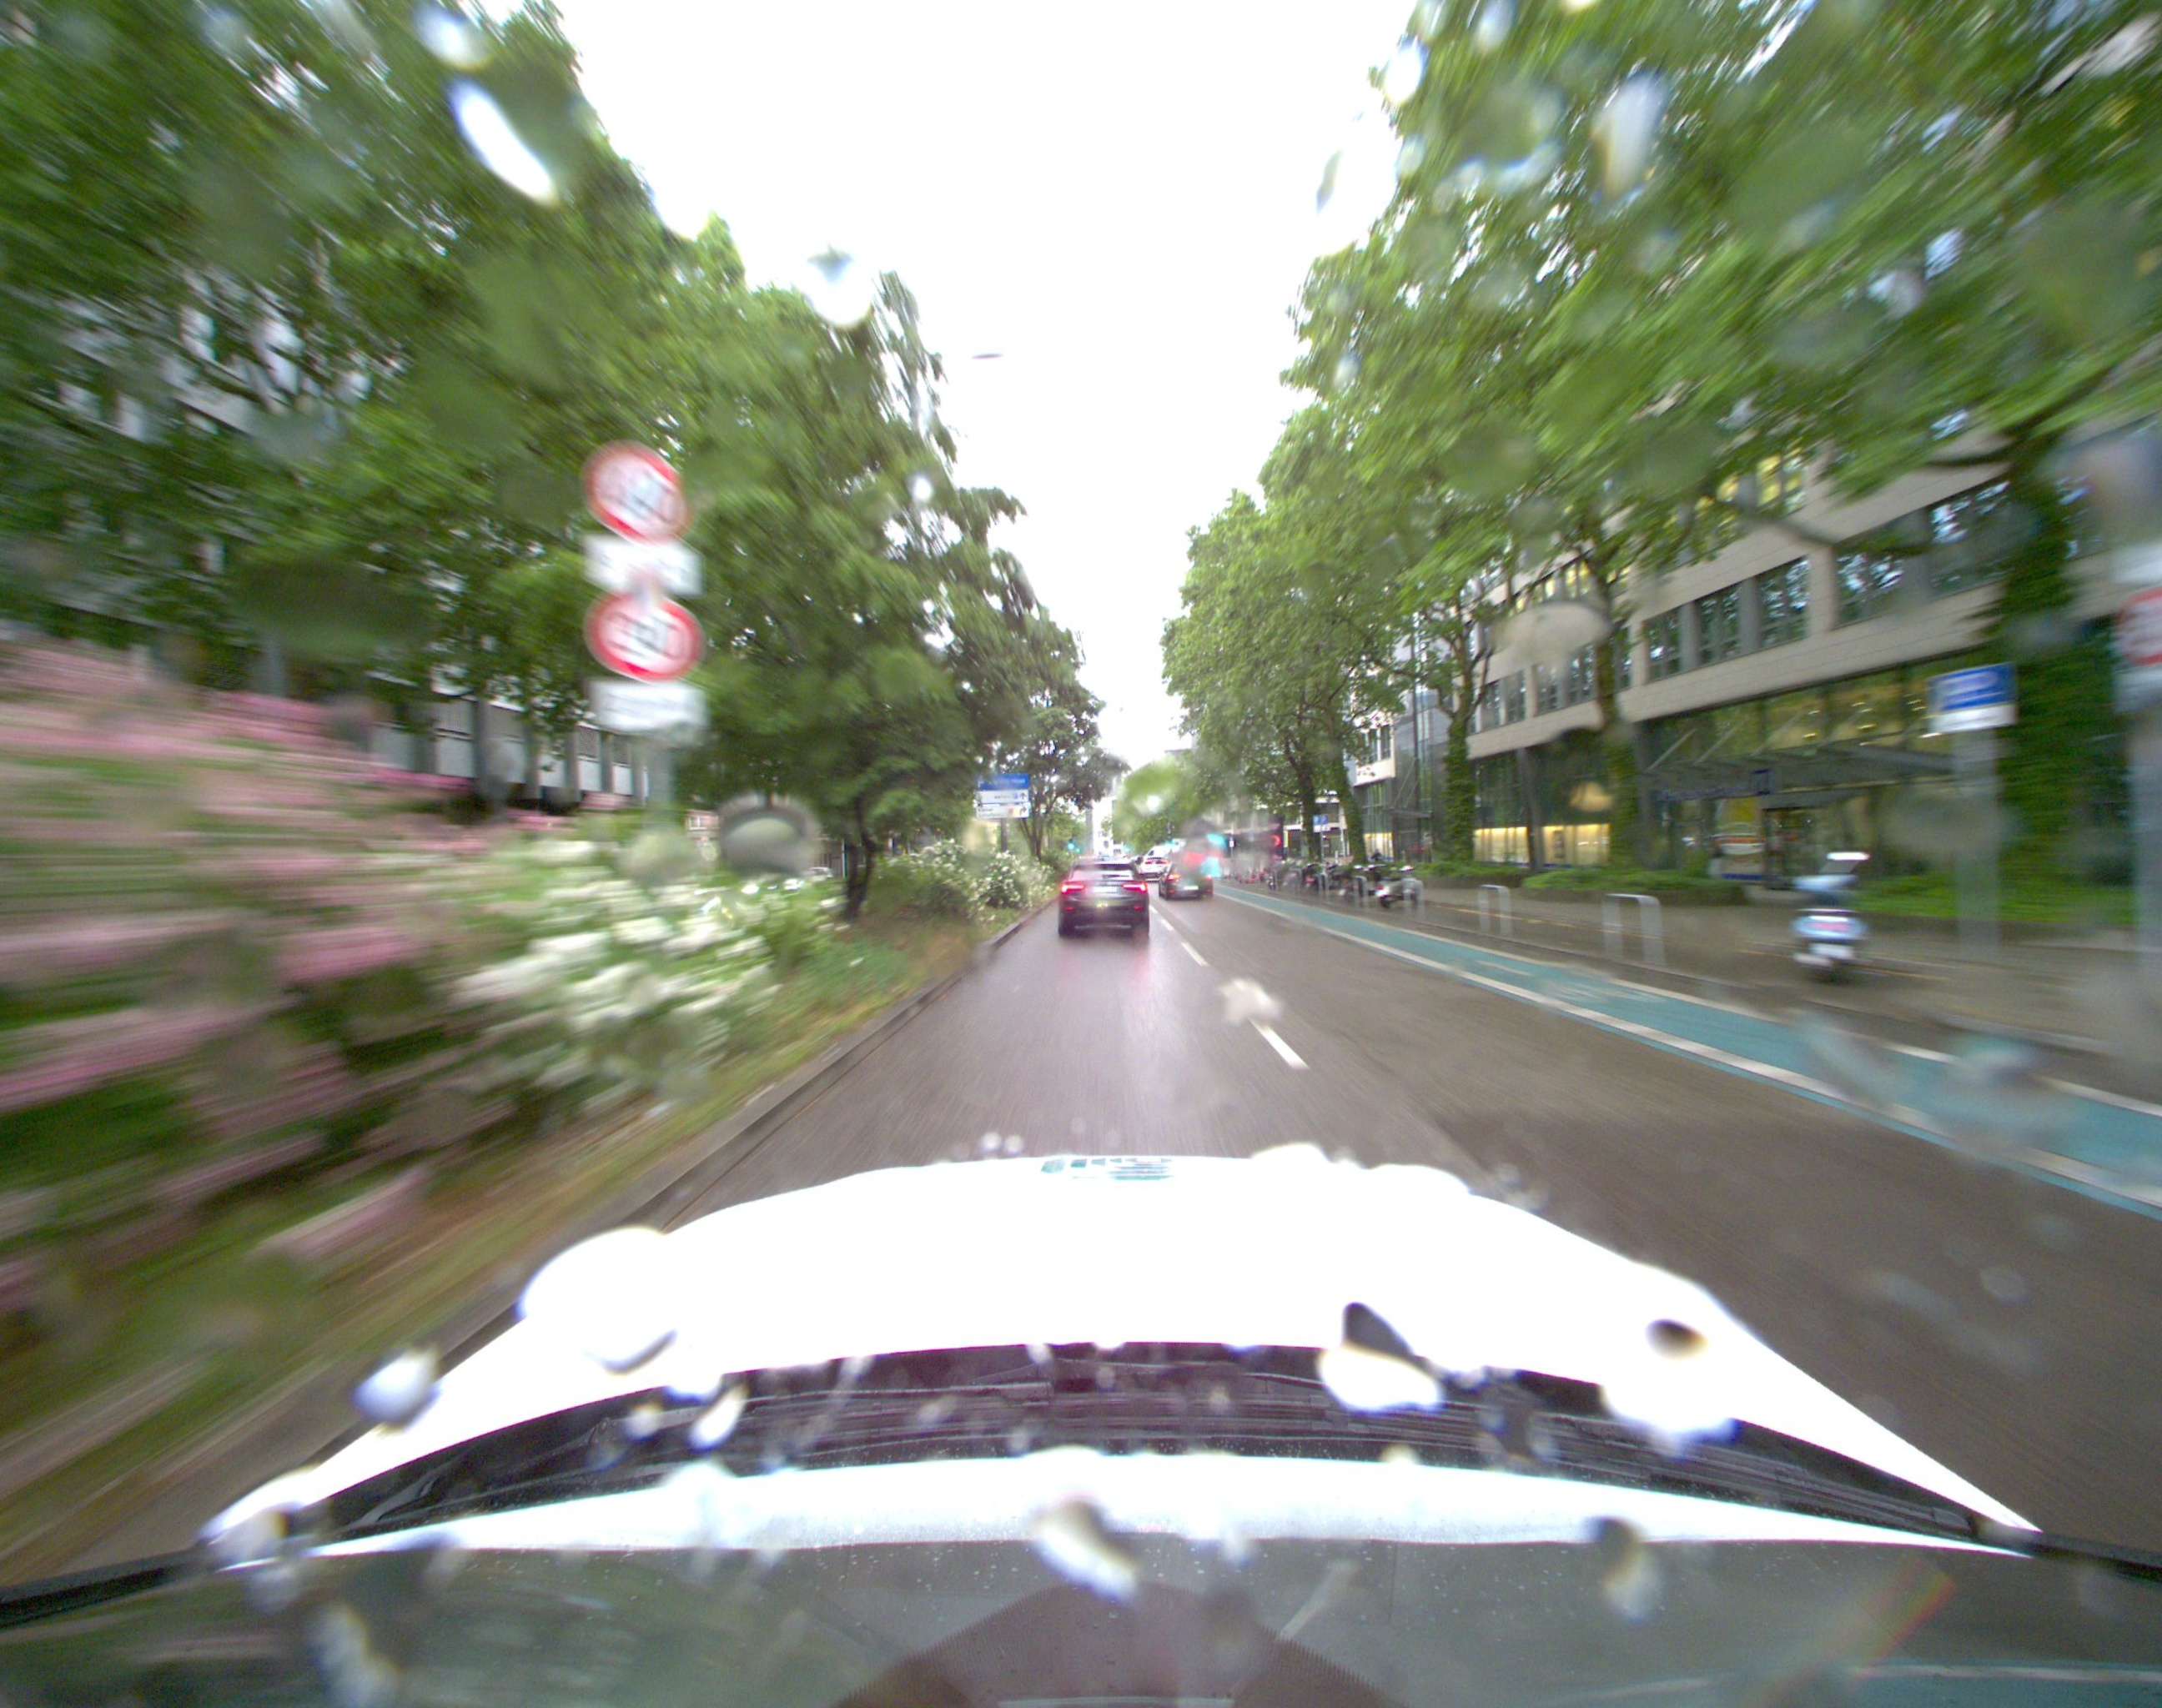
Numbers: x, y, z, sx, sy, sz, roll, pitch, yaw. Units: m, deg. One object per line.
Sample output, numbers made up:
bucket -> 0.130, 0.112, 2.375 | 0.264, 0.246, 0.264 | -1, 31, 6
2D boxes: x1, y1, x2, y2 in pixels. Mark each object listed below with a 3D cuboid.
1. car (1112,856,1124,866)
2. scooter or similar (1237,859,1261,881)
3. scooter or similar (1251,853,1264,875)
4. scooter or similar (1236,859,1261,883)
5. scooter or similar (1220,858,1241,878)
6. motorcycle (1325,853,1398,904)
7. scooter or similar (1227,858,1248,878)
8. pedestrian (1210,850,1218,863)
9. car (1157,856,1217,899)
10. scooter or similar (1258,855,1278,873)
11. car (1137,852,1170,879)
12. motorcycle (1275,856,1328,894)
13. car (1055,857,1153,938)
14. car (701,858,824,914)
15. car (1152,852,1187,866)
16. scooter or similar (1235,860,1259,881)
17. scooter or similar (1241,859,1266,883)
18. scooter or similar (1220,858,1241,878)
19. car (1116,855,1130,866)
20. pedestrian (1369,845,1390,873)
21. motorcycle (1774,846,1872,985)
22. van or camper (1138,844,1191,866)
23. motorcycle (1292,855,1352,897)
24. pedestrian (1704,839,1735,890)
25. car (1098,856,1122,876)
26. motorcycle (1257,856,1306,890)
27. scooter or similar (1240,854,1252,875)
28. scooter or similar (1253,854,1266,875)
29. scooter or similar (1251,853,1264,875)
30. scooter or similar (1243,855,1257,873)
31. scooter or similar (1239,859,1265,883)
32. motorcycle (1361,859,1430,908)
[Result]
car -> 5.773, 1.104, 127.735 | 1.843, 1.523, 4.040 | -1, 0, 2
scooter or similar -> 10.013, 0.978, 48.463 | 1.284, 1.236, 0.490 | -2, 1, 3
scooter or similar -> 10.890, 0.623, 50.337 | 0.486, 1.260, 1.294 | -2, 1, 2
scooter or similar -> 9.528, 0.947, 46.334 | 1.289, 1.278, 0.535 | -3, 1, -10
scooter or similar -> 9.758, 0.907, 53.276 | 1.280, 1.260, 0.491 | -2, 1, 13
motorcycle -> 8.597, 0.721, 24.959 | 2.060, 1.428, 0.724 | -3, 1, -20
scooter or similar -> 10.022, 0.887, 52.126 | 1.280, 1.260, 0.491 | -2, 1, 13
pedestrian -> 17.590, 0.321, 107.948 | 0.803, 1.696, 1.186 | 0, 0, -3
car -> 3.988, 0.838, 31.189 | 1.843, 1.523, 4.040 | -1, 0, 1
scooter or similar -> 12.372, 0.672, 53.879 | 0.490, 1.198, 1.281 | 0, -1, -29
car -> 4.577, 0.706, 52.121 | 1.843, 1.669, 4.040 | -1, 0, 1
motorcycle -> 8.873, 0.822, 32.785 | 1.962, 1.373, 0.724 | -3, 1, -20
car -> 0.467, 0.832, 17.519 | 1.843, 1.523, 4.039 | -1, 0, 1
car -> -9.401, 0.881, 24.483 | 1.721, 1.428, 4.499 | -4, 0, 2
car -> 10.112, 0.555, 93.238 | 3.618, 1.547, 1.723 | -1, 0, 20
scooter or similar -> 10.033, 0.990, 49.208 | 1.284, 1.236, 0.490 | -2, 1, 3
scooter or similar -> 9.585, 0.928, 45.204 | 1.283, 1.278, 0.538 | -2, 1, 5
scooter or similar -> 9.664, 0.898, 52.666 | 1.280, 1.260, 0.491 | -2, 1, 13
car -> 5.680, 0.883, 111.074 | 1.843, 1.523, 4.040 | -1, 0, 1
pedestrian -> 19.889, 0.327, 54.273 | 0.914, 1.850, 1.277 | 0, -1, 1
motorcycle -> 8.475, 0.651, 9.340 | 0.676, 1.367, 1.958 | -5, -2, 42
van or camper -> 10.147, 0.108, 99.364 | 6.008, 2.558, 2.117 | -1, -1, 28
motorcycle -> 8.687, 0.785, 29.354 | 1.962, 1.373, 0.724 | -3, 1, -20
pedestrian -> 21.761, 0.365, 27.758 | 0.720, 1.693, 0.833 | -2, 0, 44
car -> 2.320, 0.933, 65.836 | 1.843, 1.523, 4.040 | -1, 0, 1
motorcycle -> 8.883, 0.820, 36.059 | 1.959, 1.373, 0.725 | -3, 1, -15
scooter or similar -> 10.784, 0.671, 53.276 | 0.486, 1.260, 1.294 | -2, 1, 2
scooter or similar -> 11.304, 0.641, 51.562 | 0.486, 1.260, 1.294 | -2, 1, 2
scooter or similar -> 10.890, 0.623, 50.337 | 0.486, 1.260, 1.294 | -2, 1, 2
scooter or similar -> 11.212, 0.682, 54.125 | 0.487, 1.198, 1.290 | -1, -1, -8
scooter or similar -> 9.582, 0.936, 45.648 | 1.283, 1.278, 0.538 | -2, 1, 5
motorcycle -> 8.750, 0.808, 22.622 | 2.069, 1.213, 0.677 | -3, -1, -34
